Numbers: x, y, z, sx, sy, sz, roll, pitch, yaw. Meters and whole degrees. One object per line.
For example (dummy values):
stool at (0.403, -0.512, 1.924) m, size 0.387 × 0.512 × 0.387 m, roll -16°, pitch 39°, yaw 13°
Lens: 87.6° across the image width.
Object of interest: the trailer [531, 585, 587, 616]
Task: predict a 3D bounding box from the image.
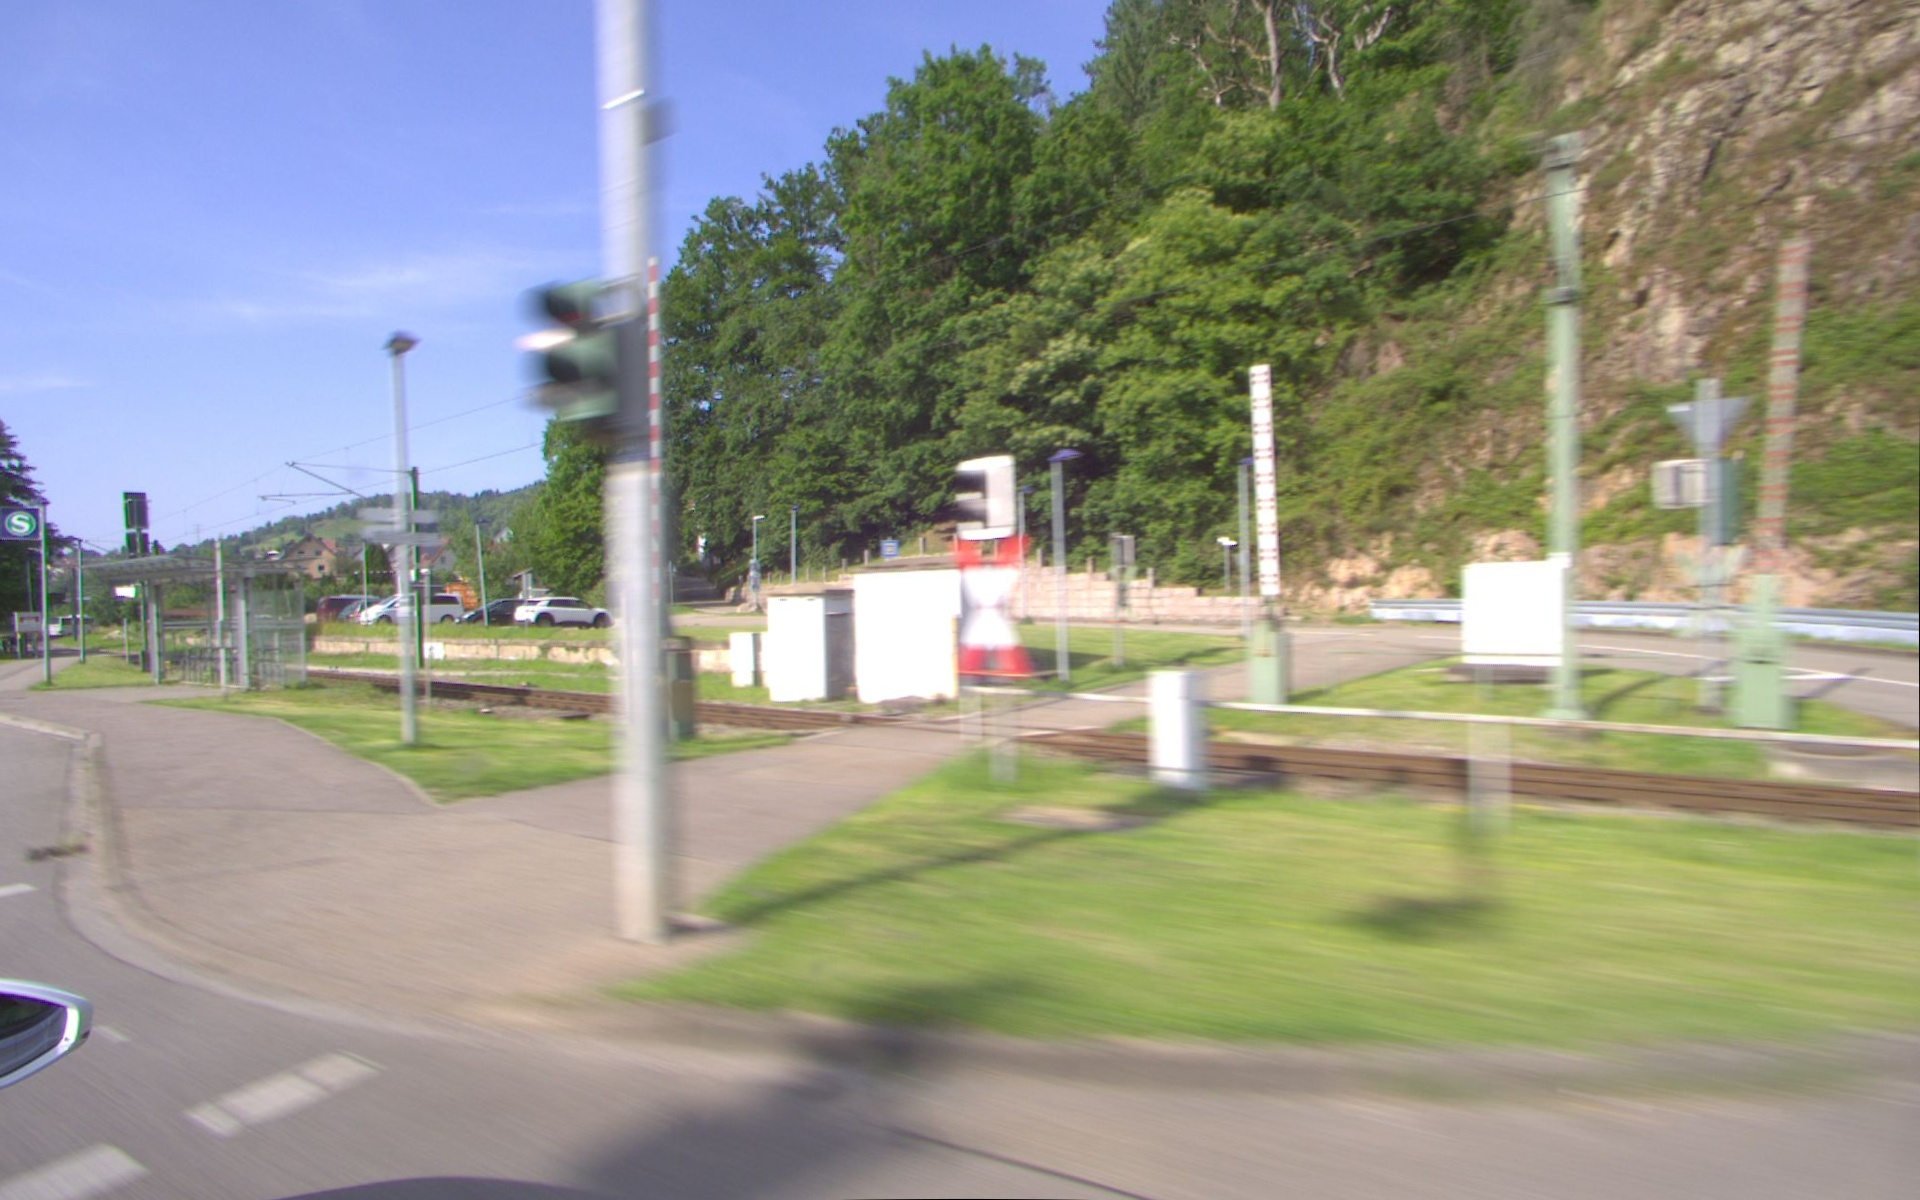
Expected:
trailer at (-30.213, 0.057, 75.415) m, size 3.650 × 2.219 × 1.809 m, roll -2°, pitch 1°, yaw -30°

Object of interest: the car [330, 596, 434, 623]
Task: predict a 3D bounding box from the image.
car at (-33.589, 0.523, 58.315) m, size 1.874 × 1.487 × 4.926 m, roll -1°, pitch -1°, yaw 41°

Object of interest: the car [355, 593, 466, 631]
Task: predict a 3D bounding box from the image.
car at (-30.056, 0.655, 54.894) m, size 2.117 × 1.969 × 4.926 m, roll -1°, pitch 0°, yaw 41°

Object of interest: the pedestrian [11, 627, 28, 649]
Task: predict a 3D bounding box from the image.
pedestrian at (-52.566, 2.139, 55.969) m, size 0.630 × 1.177 × 0.720 m, roll -3°, pitch 1°, yaw -40°

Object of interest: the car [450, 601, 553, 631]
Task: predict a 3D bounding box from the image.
car at (-22.393, 0.760, 49.019) m, size 1.811 × 1.361 × 4.243 m, roll -1°, pitch -1°, yaw 41°

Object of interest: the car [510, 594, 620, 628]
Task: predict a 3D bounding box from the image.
car at (-17.155, 0.484, 43.627) m, size 1.789 × 1.416 × 4.075 m, roll -1°, pitch 0°, yaw 41°

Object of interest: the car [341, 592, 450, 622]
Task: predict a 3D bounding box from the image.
car at (-31.793, 0.369, 56.515) m, size 2.117 × 1.608 × 4.926 m, roll -1°, pitch -1°, yaw 41°

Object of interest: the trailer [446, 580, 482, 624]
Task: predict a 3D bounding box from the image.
trailer at (-47.346, 0.197, 95.484) m, size 2.576 × 3.945 × 7.695 m, roll -3°, pitch 1°, yaw -29°

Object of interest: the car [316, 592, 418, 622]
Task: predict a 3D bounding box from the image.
car at (-35.534, 0.430, 60.097) m, size 1.914 × 1.713 × 4.926 m, roll -1°, pitch 0°, yaw 41°
